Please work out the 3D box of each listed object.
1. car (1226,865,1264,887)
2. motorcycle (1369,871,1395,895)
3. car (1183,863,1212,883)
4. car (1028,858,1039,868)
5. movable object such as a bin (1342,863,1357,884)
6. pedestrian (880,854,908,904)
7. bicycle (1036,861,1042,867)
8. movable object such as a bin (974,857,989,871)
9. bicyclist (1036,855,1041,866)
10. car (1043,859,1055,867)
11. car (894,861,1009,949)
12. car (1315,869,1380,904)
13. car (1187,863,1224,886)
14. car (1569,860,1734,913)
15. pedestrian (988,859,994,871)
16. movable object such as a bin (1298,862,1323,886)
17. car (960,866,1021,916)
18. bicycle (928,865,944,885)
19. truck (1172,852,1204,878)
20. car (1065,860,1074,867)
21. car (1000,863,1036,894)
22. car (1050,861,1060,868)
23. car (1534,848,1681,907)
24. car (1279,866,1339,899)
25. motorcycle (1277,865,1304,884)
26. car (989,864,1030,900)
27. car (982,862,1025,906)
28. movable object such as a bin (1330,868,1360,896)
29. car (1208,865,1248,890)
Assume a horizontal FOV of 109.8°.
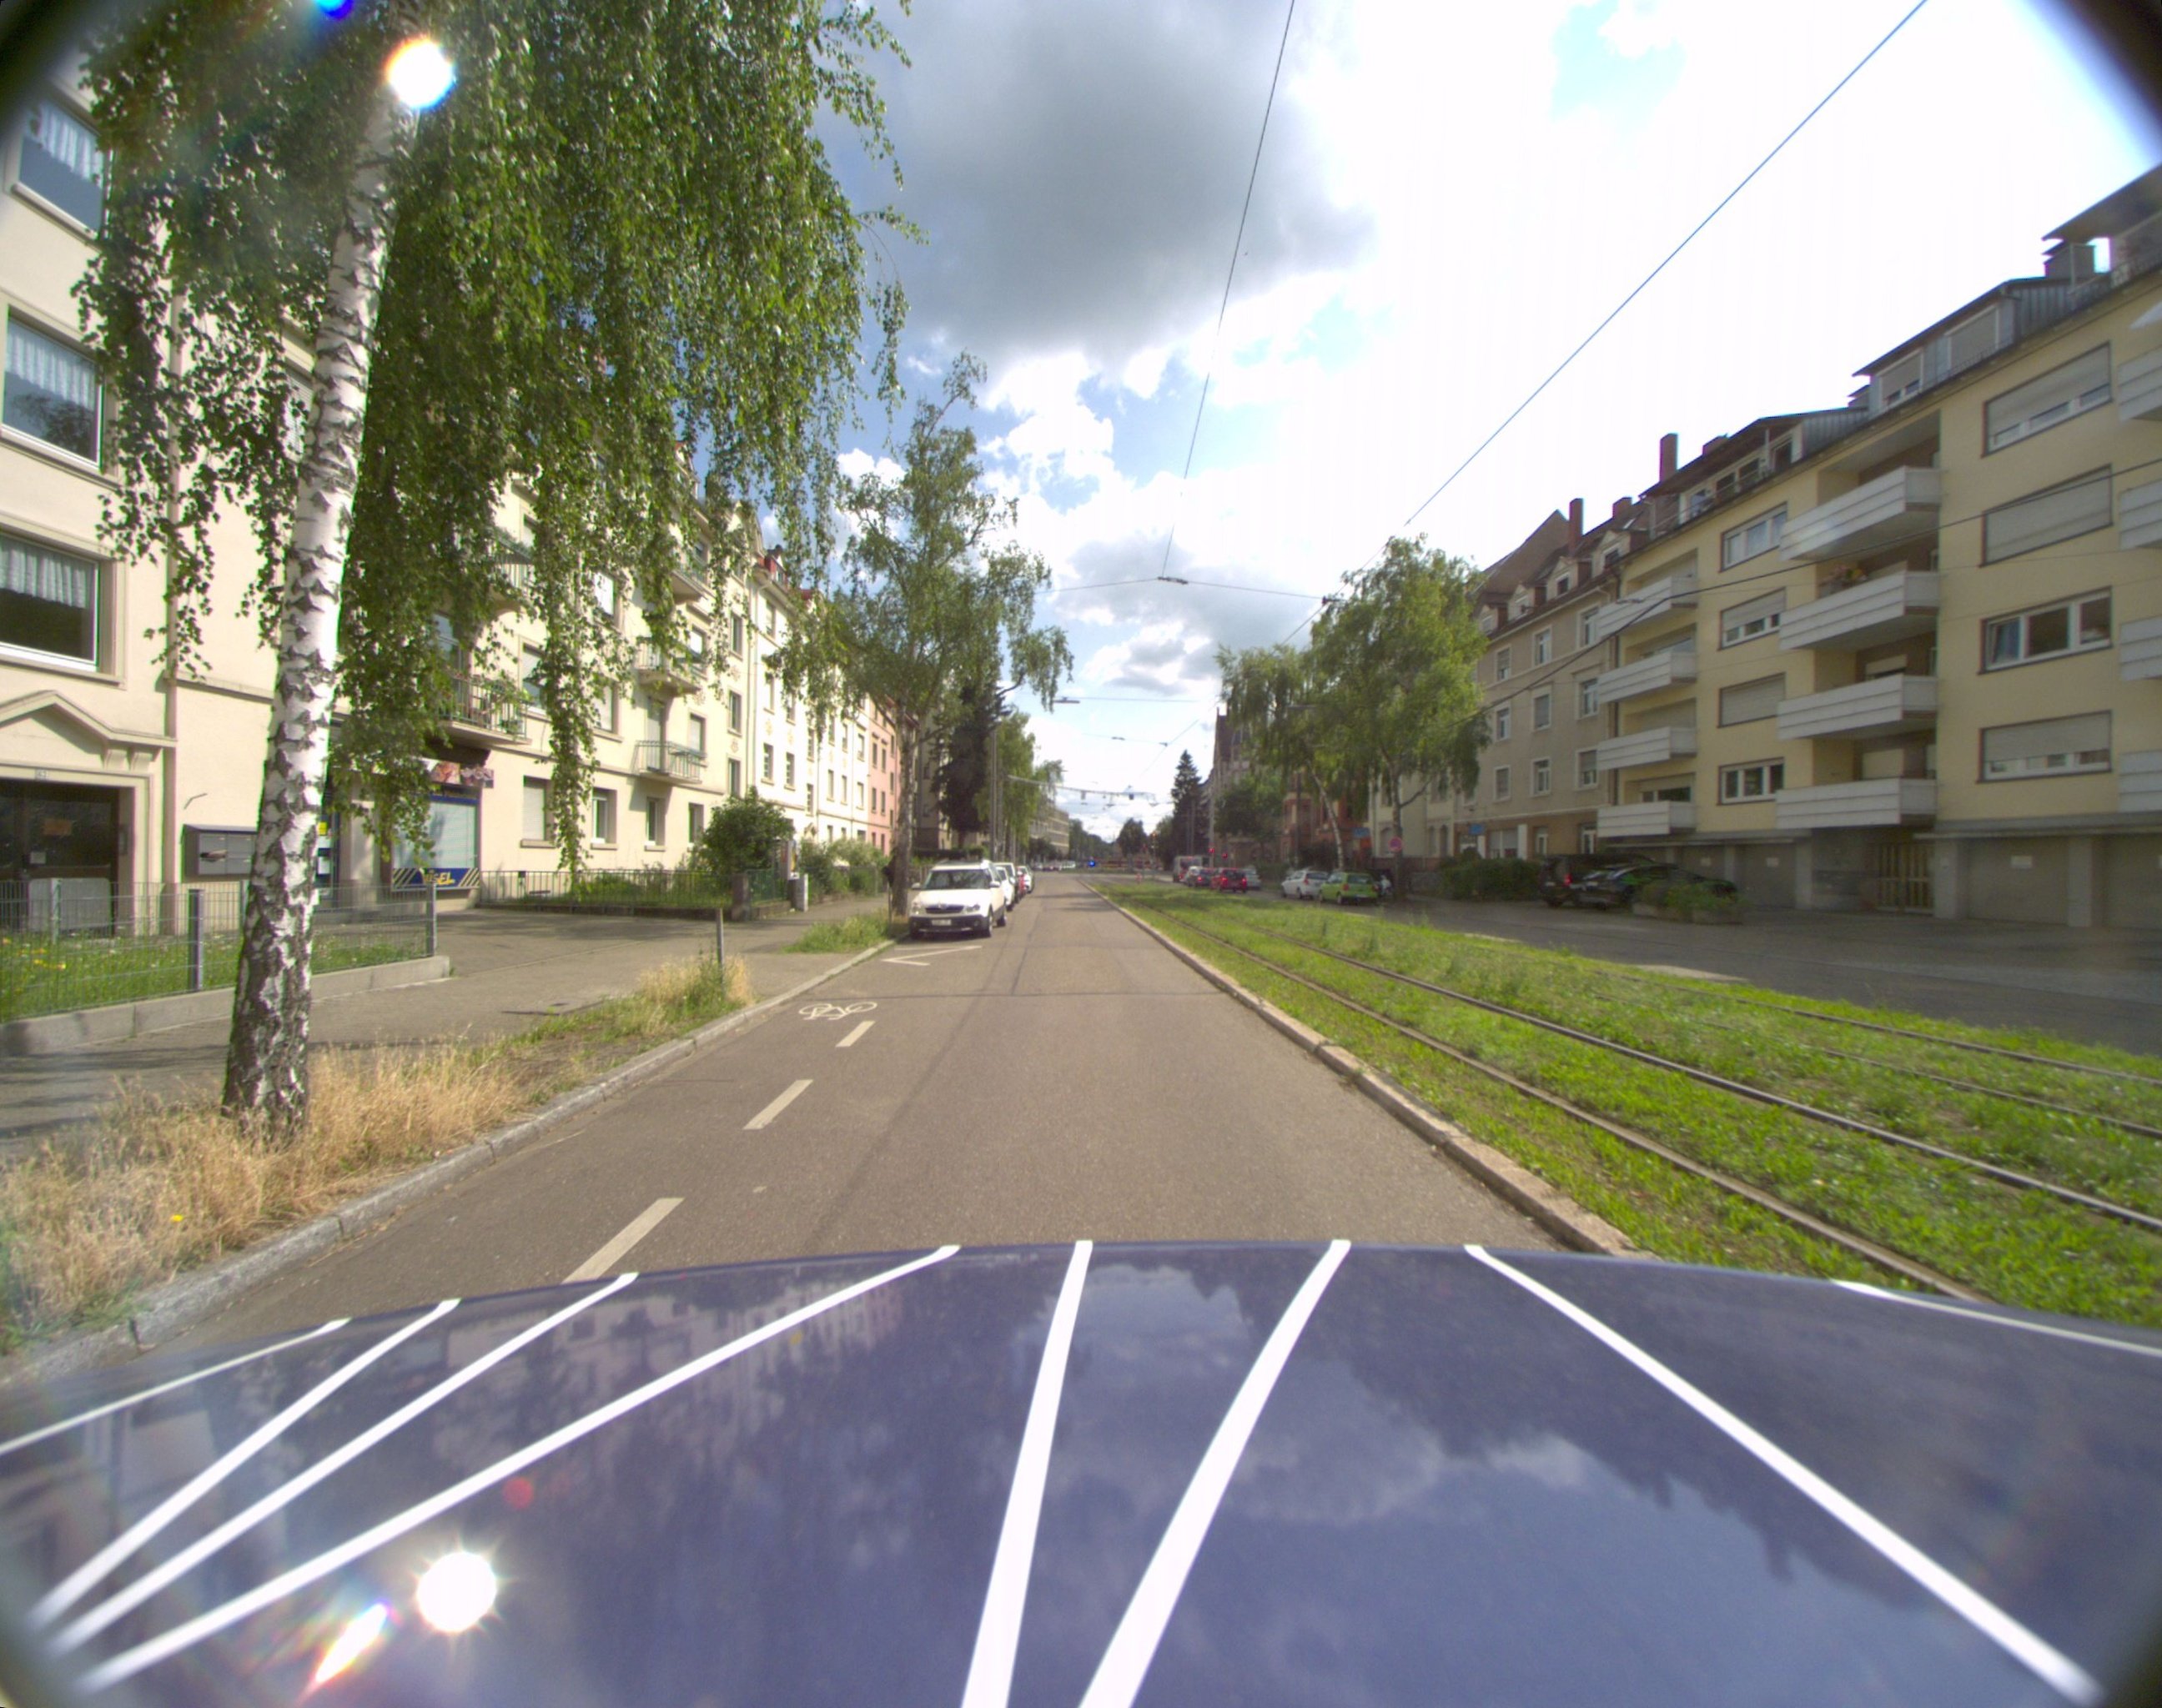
[{"bbox_3d":[11.255,1.474,52.286,1.759,1.348,3.995,1,0,0],"label":"car"},{"bbox_3d":[14.124,1.352,35.709,0.500,1.036,1.632,-3,1,-2],"label":"motorcycle"},{"bbox_3d":[8.967,1.420,58.753,1.759,1.406,4.134,2,0,3],"label":"car"},{"bbox_3d":[-8.410,1.656,135.278,1.999,1.730,3.999,1,0,-3],"label":"car"},{"bbox_3d":[17.162,1.228,48.615,0.675,1.354,0.699,0,0,-5],"label":"movable object such as a bin"},{"bbox_3d":[-6.564,0.868,26.663,0.731,1.673,0.691,2,0,2],"label":"pedestrian"},{"bbox_3d":[-6.593,1.507,118.713,0.771,0.885,1.892,1,0,4],"label":"bicycle"},{"bbox_3d":[-10.721,1.059,81.857,1.305,1.483,2.000,1,0,-1],"label":"movable object such as a bin"},{"bbox_3d":[-6.586,1.041,118.714,0.665,1.679,0.857,1,0,4],"label":"bicyclist"},{"bbox_3d":[-5.302,1.448,126.054,1.741,1.313,4.000,-1,0,2],"label":"car"},{"bbox_3d":[-2.689,0.998,16.686,1.725,1.620,4.000,-2,0,1],"label":"car"},{"bbox_3d":[11.877,1.421,34.070,1.598,1.423,3.614,1,0,-1],"label":"car"},{"bbox_3d":[8.487,1.368,52.178,1.759,1.348,4.512,2,0,0],"label":"car"},{"bbox_3d":[18.867,1.037,25.268,3.997,1.593,1.973,-1,0,-2],"label":"car"},{"bbox_3d":[-13.103,1.599,110.553,0.737,1.832,0.805,0,1,-17],"label":"pedestrian"},{"bbox_3d":[14.094,1.216,46.711,0.953,1.359,1.521,-4,0,-2],"label":"movable object such as a bin"},{"bbox_3d":[-2.944,1.177,25.444,1.677,1.408,3.794,-2,0,-2],"label":"car"},{"bbox_3d":[-8.179,1.157,42.962,0.472,1.071,2.183,1,0,0],"label":"bicycle"},{"bbox_3d":[9.498,0.962,68.157,2.190,2.201,6.614,1,0,3],"label":"truck"},{"bbox_3d":[-2.476,1.980,161.080,1.739,1.570,4.001,1,0,2],"label":"car"},{"bbox_3d":[-3.274,1.236,39.973,1.624,1.444,3.918,-3,0,-2],"label":"car"},{"bbox_3d":[-4.541,1.830,133.306,1.619,1.265,4.001,0,0,2],"label":"car"},{"bbox_3d":[19.186,0.849,27.841,3.996,2.002,1.937,-1,0,2],"label":"car"},{"bbox_3d":[11.568,1.411,38.817,1.649,1.469,4.225,2,0,-1],"label":"car"},{"bbox_3d":[13.637,1.319,49.496,0.903,1.235,2.293,0,0,-7],"label":"motorcycle"},{"bbox_3d":[-3.302,1.259,35.532,1.593,1.444,3.844,-3,0,-2],"label":"car"},{"bbox_3d":[-3.049,1.159,30.453,1.497,1.570,3.758,-2,0,-3],"label":"car"},{"bbox_3d":[13.944,1.455,40.193,0.953,1.421,1.521,-2,0,-2],"label":"movable object such as a bin"},{"bbox_3d":[8.675,1.355,45.087,1.583,1.378,3.692,1,0,-1],"label":"car"}]
